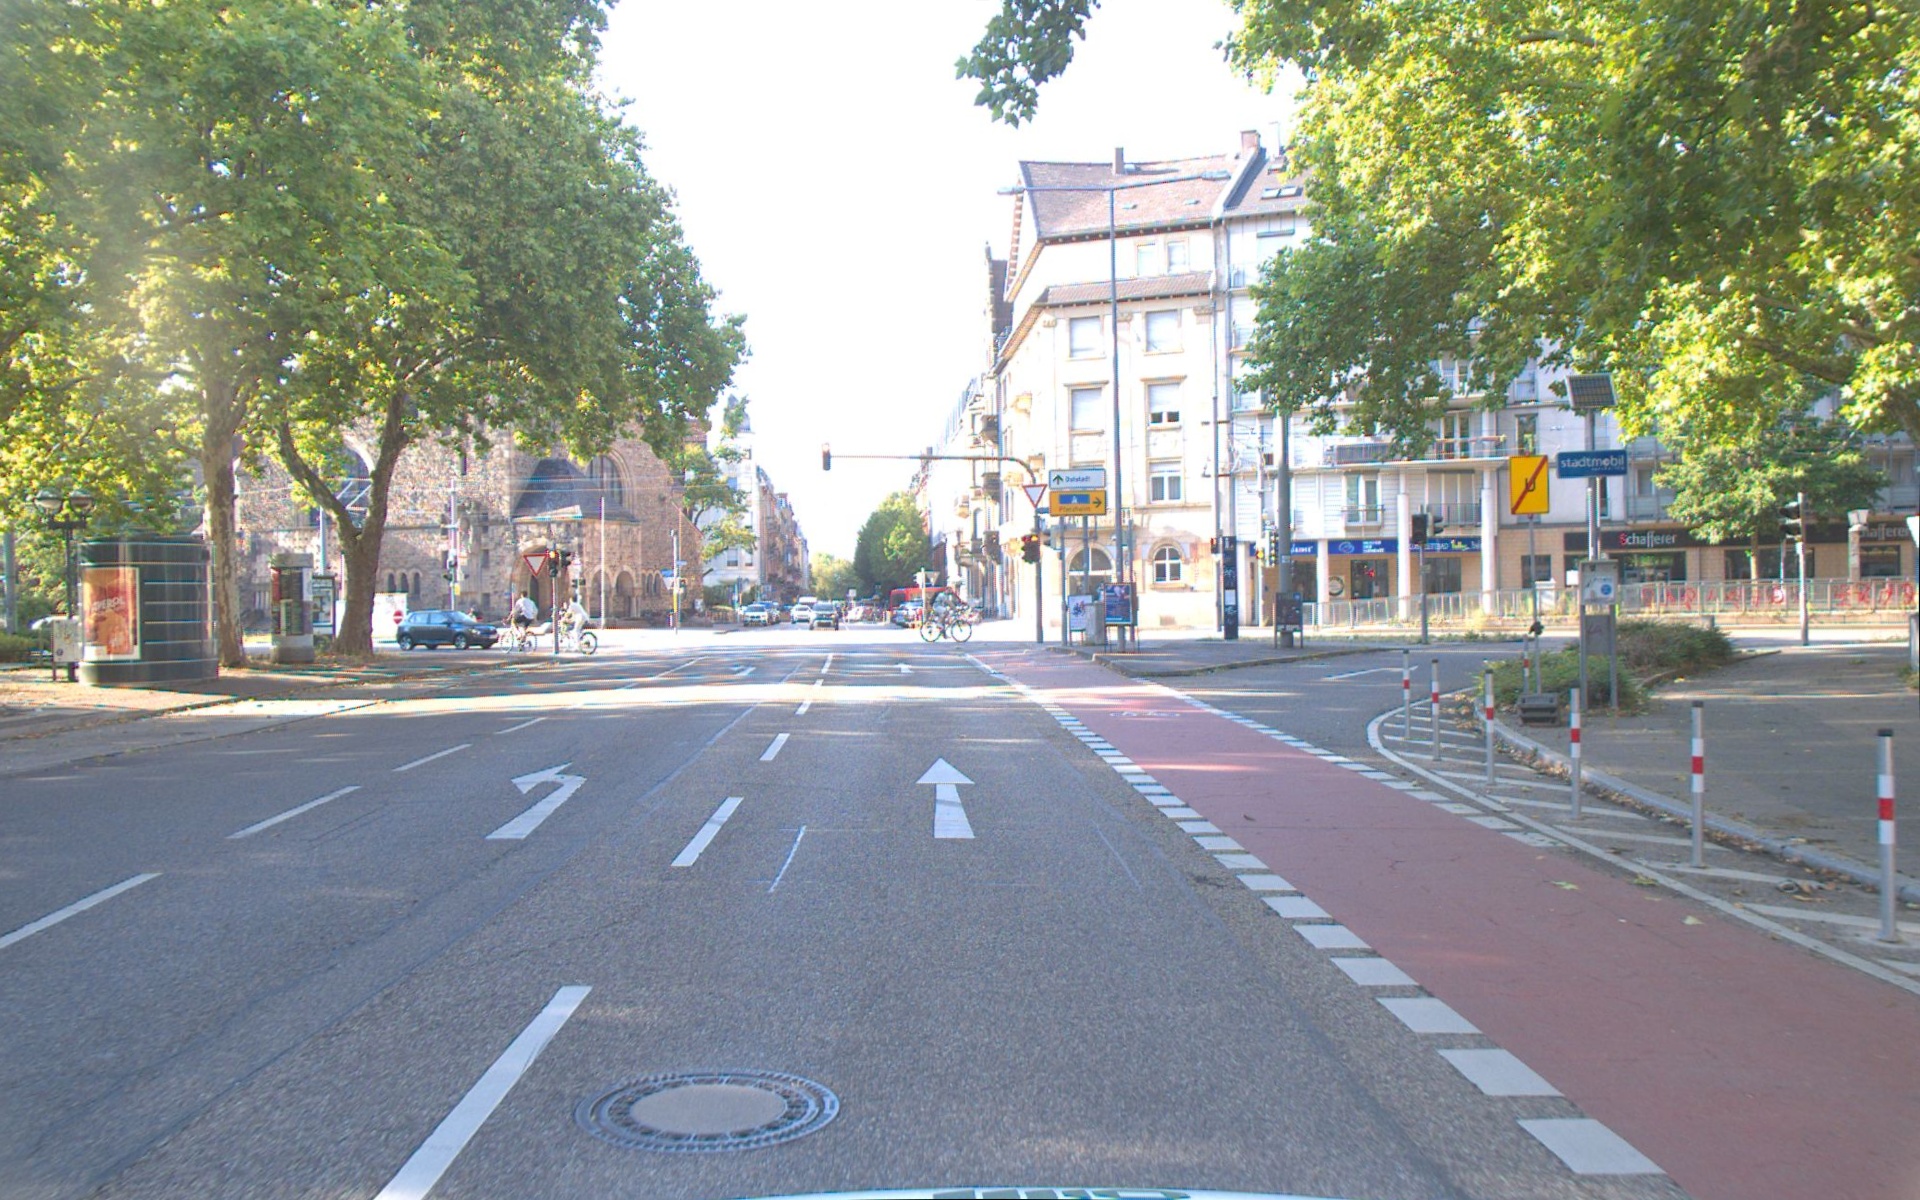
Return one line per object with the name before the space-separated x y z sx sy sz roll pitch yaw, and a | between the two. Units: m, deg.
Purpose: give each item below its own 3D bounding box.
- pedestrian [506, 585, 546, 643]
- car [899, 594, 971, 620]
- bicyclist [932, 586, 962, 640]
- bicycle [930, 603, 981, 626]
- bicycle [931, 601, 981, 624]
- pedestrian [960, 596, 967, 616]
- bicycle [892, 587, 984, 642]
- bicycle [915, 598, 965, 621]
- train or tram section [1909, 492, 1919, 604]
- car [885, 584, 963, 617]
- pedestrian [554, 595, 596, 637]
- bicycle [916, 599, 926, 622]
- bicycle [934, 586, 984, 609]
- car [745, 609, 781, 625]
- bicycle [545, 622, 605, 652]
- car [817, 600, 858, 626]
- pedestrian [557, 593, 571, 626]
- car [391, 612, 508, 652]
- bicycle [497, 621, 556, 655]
pedestrian | -13.204 0.419 50.344 0.972 1.738 0.627 0 -2 29
car | -1.608 0.450 106.907 4.381 1.565 1.851 2 -1 -36
bicyclist | -0.412 0.413 51.977 0.785 1.685 0.935 1 -1 8
bicycle | -0.237 0.808 90.326 2.749 1.225 0.509 1 -1 -7
bicycle | -0.209 0.711 91.928 2.749 1.225 0.516 1 -1 -7
pedestrian | 0.233 0.405 111.182 0.386 1.312 0.431 1 -1 1
bicycle | -0.694 0.460 52.005 2.781 1.685 0.831 1 -1 8
bicycle | -1.106 0.526 91.214 2.749 1.225 0.516 1 -1 -7
train or tram section | 37.478 -1.697 53.325 11.550 3.704 3.416 1 -1 22
car | -2.371 0.043 110.683 4.954 2.049 2.136 2 -2 -39
pedestrian | -12.115 0.512 52.051 1.028 1.300 0.791 0 -1 27
bicycle | -2.206 0.596 93.588 0.498 1.225 2.091 1 -1 -1
bicycle | -0.033 -0.141 92.576 2.749 1.225 0.509 1 -1 -7
car | -14.947 1.298 125.409 1.560 1.164 3.386 1 -1 15
bicycle | -12.114 1.169 52.013 1.747 0.911 0.750 -1 0 27
car | -7.311 0.775 99.162 1.553 1.488 3.186 1 -1 14
pedestrian | -22.151 0.545 92.551 0.598 1.822 0.710 1 -1 -3
car | -18.909 1.186 61.279 3.844 1.421 1.653 1 -1 18
bicycle | -13.185 1.165 50.289 1.750 0.999 0.655 0 -1 29
